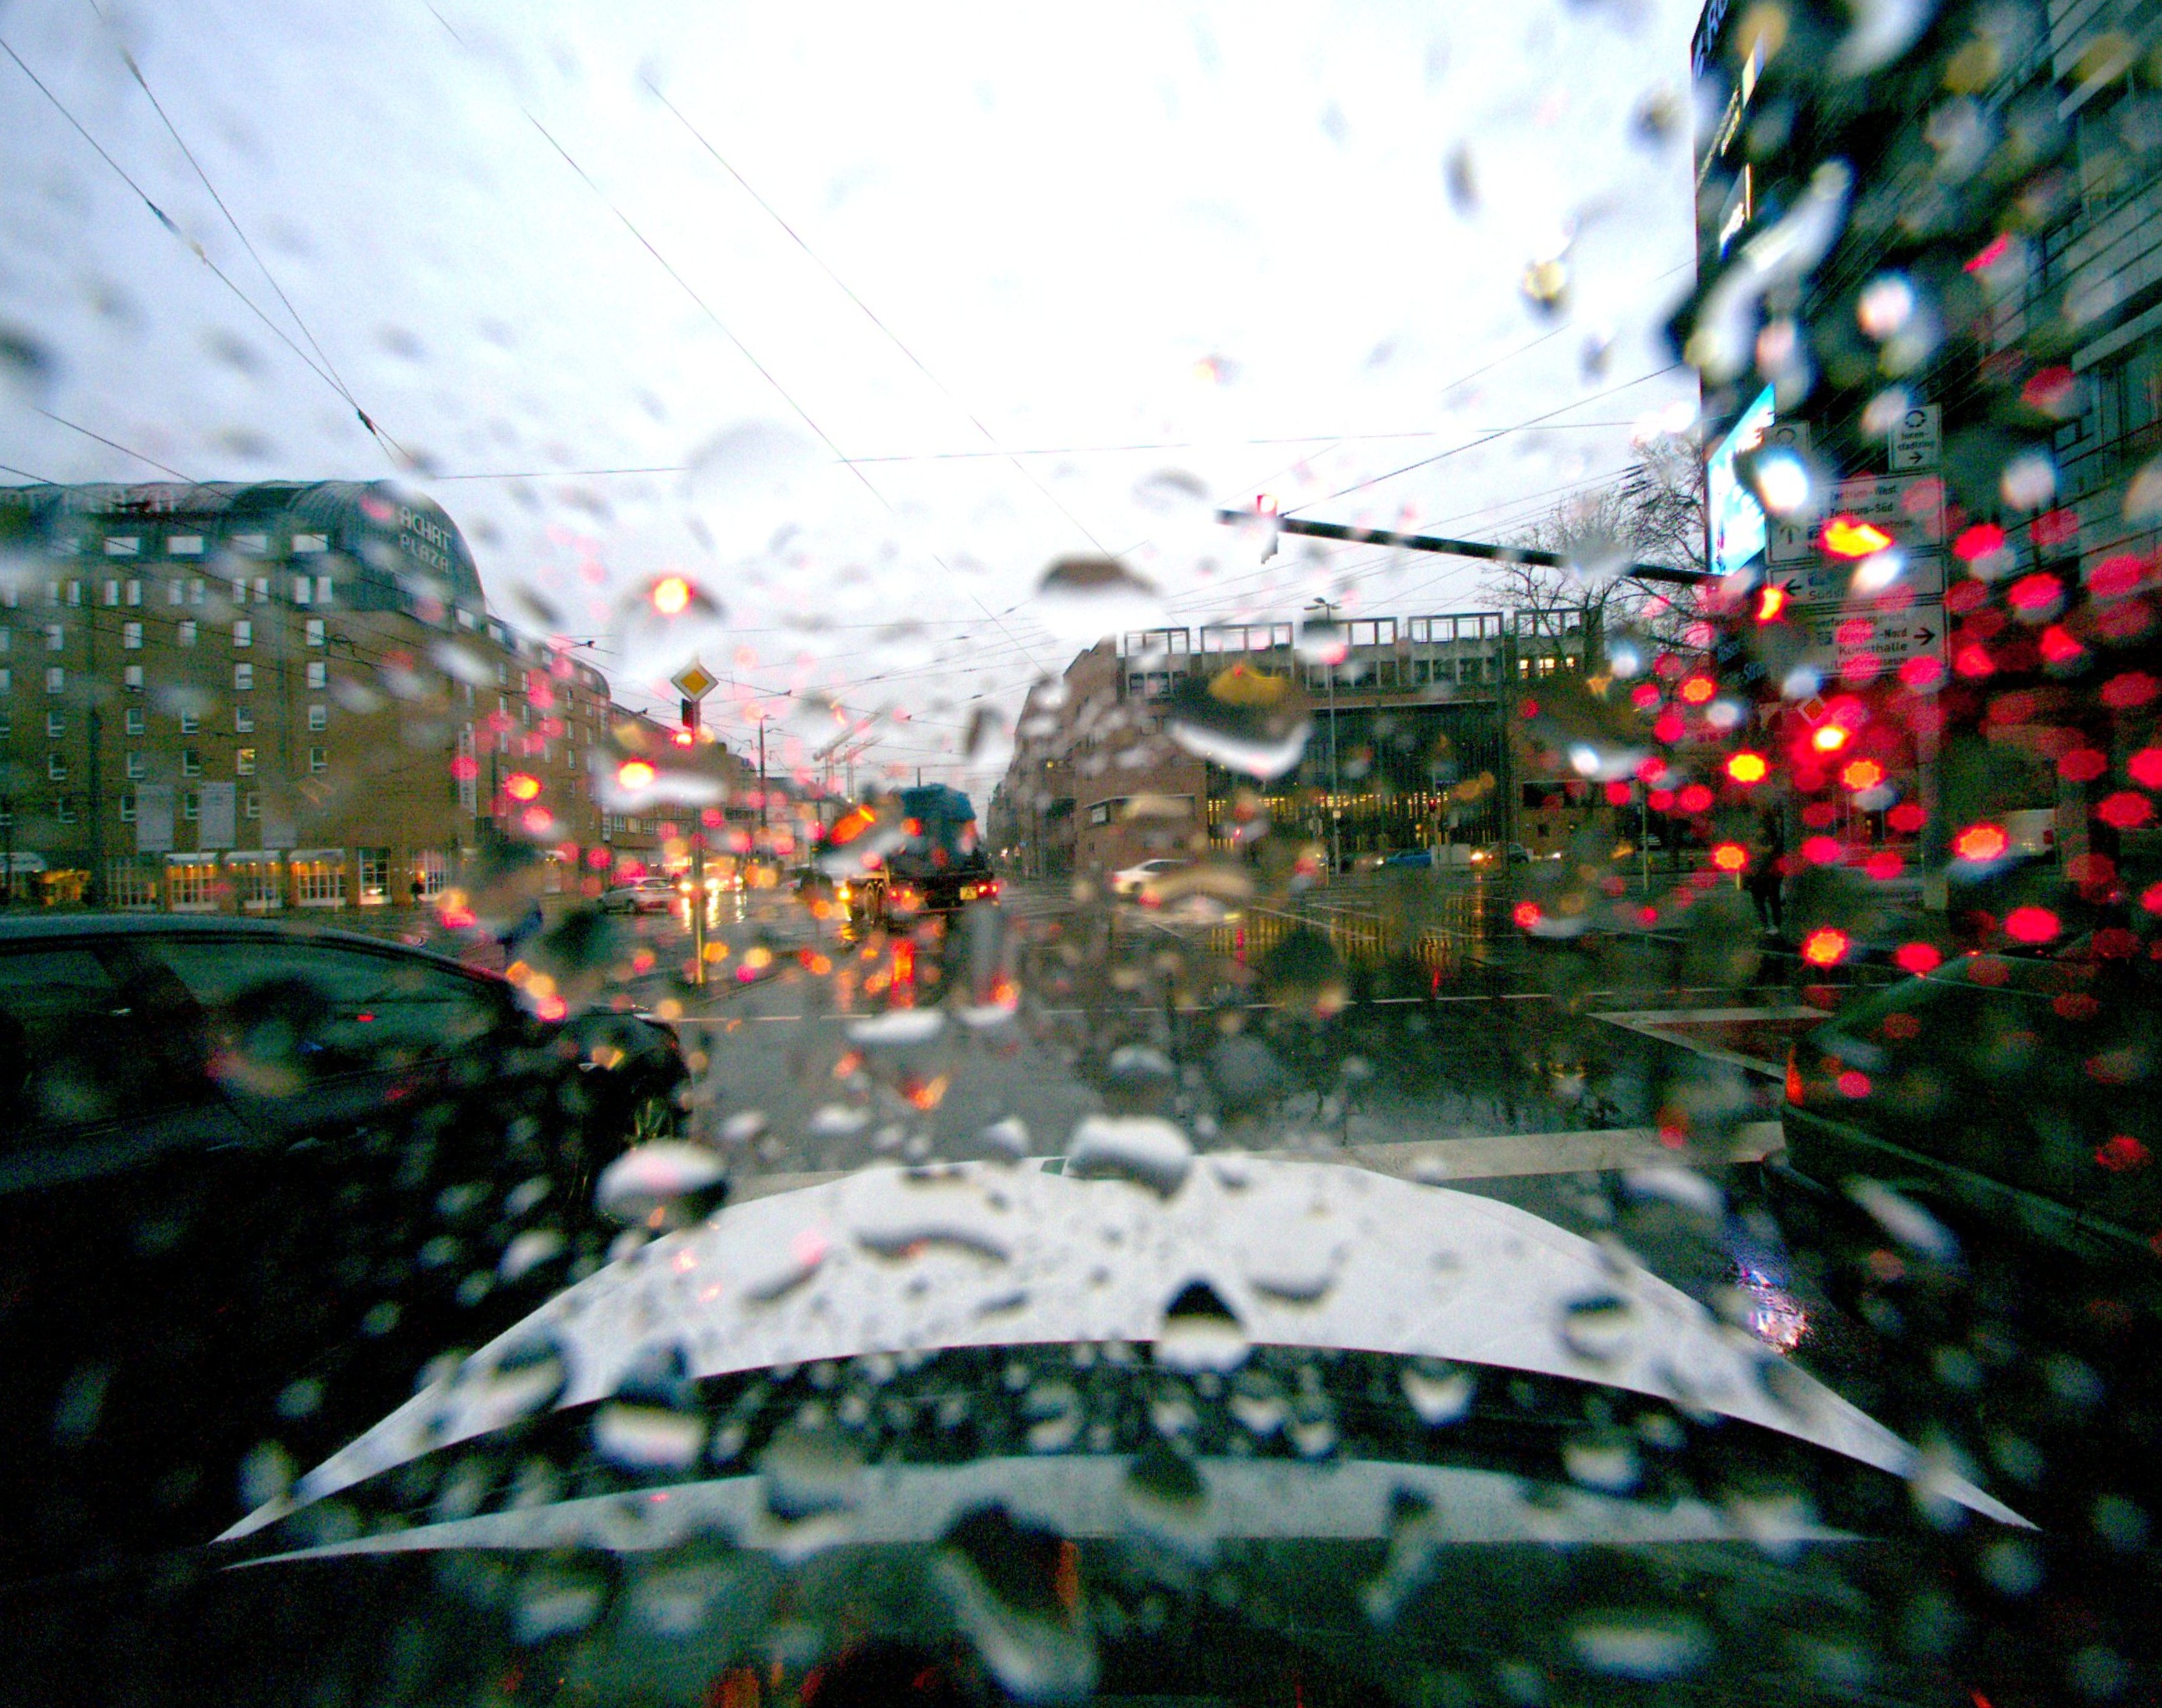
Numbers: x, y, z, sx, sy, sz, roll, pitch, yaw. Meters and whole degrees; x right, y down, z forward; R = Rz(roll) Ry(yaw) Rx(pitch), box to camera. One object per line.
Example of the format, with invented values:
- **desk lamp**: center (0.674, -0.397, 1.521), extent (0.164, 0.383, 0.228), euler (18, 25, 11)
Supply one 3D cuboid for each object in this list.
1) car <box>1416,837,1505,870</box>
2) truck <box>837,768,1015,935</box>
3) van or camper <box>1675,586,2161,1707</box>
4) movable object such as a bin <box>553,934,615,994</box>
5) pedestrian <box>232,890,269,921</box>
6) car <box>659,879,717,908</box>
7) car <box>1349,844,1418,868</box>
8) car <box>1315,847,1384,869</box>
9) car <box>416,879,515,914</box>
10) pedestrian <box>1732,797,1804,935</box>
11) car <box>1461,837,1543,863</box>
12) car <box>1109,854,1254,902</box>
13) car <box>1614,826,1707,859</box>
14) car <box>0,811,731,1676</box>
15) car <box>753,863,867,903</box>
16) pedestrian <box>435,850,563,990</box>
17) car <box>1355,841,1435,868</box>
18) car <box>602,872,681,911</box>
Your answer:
- **car**: center (20.428, -0.060, 43.909), extent (3.979, 1.504, 1.845), euler (-2, 4, -4)
- **truck**: center (-4.433, -0.037, 21.739), extent (2.853, 3.633, 7.464), euler (-2, 0, -25)
- **van or camper**: center (2.669, 0.494, 0.315), extent (1.750, 1.906, 4.420), euler (-1, 0, 2)
- **movable object such as a bin**: center (-6.441, 1.421, 10.566), extent (0.409, 0.699, 0.539), euler (-4, -2, 8)
- **pedestrian**: center (-48.672, 3.001, 47.738), extent (1.164, 1.678, 0.893), euler (-2, -1, -17)
- **car**: center (-23.890, 2.373, 49.453), extent (2.011, 1.552, 4.027), euler (-2, 0, -43)
- **car**: center (19.140, 0.118, 51.610), extent (3.713, 1.263, 1.845), euler (-2, 4, -4)
- **car**: center (18.242, 0.289, 55.460), extent (3.977, 1.310, 1.998), euler (-2, 0, -2)
- **car**: center (-29.540, 2.026, 39.125), extent (3.719, 1.459, 1.709), euler (-2, 0, 12)
- **pedestrian**: center (11.191, 0.189, 13.279), extent (0.574, 2.184, 0.619), euler (-1, -1, -4)
- **car**: center (24.815, -0.258, 48.094), extent (3.979, 1.288, 1.845), euler (-2, 4, -4)
- **car**: center (3.639, 0.864, 29.505), extent (4.775, 1.561, 2.062), euler (-2, 0, 23)
- **car**: center (32.243, -0.659, 45.345), extent (3.979, 1.600, 1.845), euler (-2, 4, -4)
- **car**: center (-2.712, 0.701, 2.204), extent (1.623, 1.523, 3.944), euler (-2, 1, 2)
- **car**: center (-12.186, 1.321, 36.512), extent (4.939, 1.607, 2.268), euler (-2, 0, 35)
- **pedestrian**: center (-7.163, 0.777, 10.074), extent (0.710, 1.601, 1.038), euler (-4, -1, 5)
- **car**: center (18.308, 0.012, 47.541), extent (3.979, 1.263, 1.845), euler (-2, 4, -4)
- **car**: center (-17.943, 1.506, 33.184), extent (3.950, 1.447, 1.721), euler (-2, 0, 45)
